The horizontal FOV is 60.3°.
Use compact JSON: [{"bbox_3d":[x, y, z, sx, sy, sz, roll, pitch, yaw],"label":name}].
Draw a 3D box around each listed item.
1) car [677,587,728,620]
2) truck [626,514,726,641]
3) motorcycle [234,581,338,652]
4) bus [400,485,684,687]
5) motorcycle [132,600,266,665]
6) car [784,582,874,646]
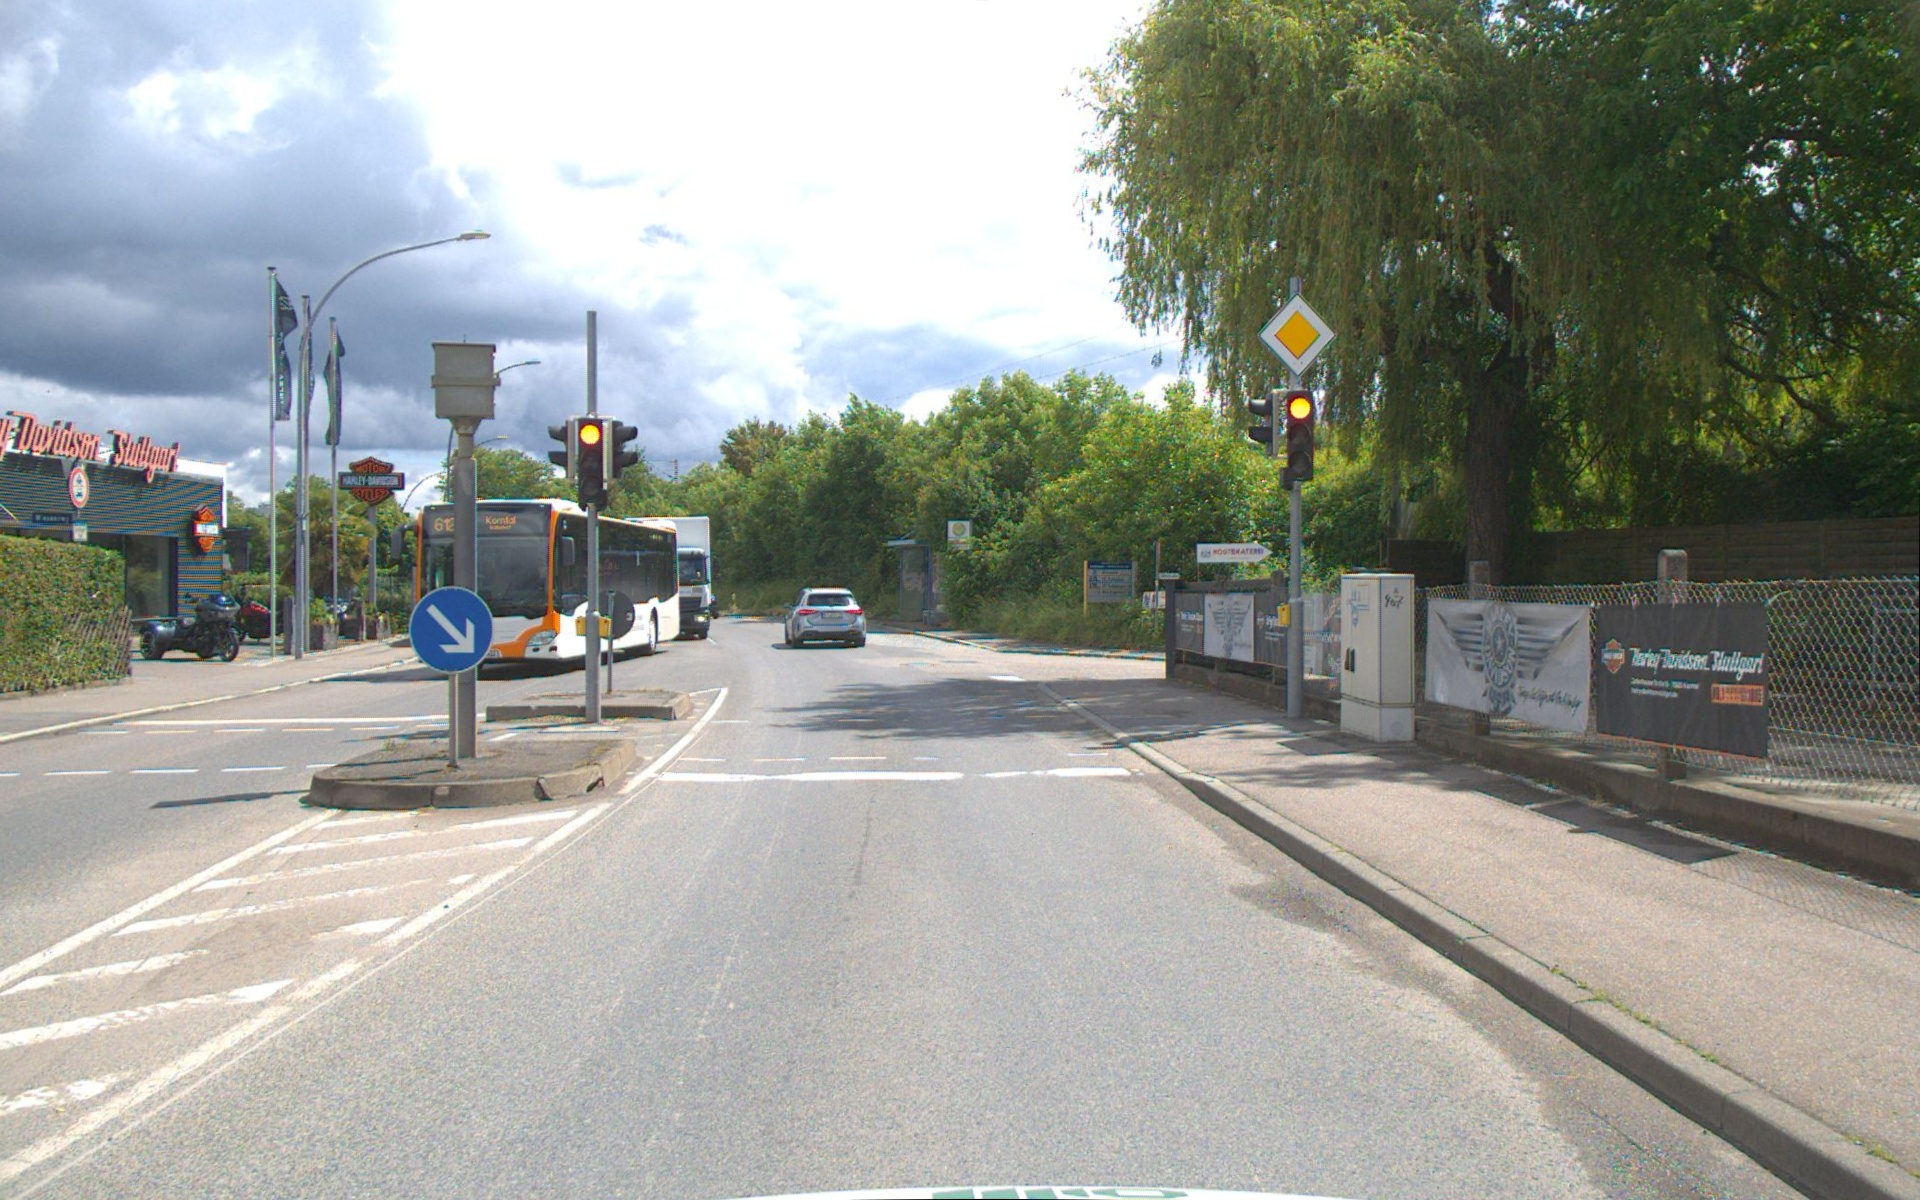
[{"bbox_3d":[-12.037,0.144,77.087,1.854,1.534,3.982,0,0,-16],"label":"car"},{"bbox_3d":[-8.904,-0.692,52.066,2.787,3.602,9.703,-1,0,-9],"label":"truck"},{"bbox_3d":[-16.840,0.397,41.339,2.254,1.713,1.042,1,-1,19],"label":"motorcycle"},{"bbox_3d":[-8.001,-0.293,33.750,2.721,3.323,12.122,-1,0,0],"label":"bus"},{"bbox_3d":[-15.162,0.640,32.952,2.448,1.239,0.927,1,-1,19],"label":"motorcycle"},{"bbox_3d":[-3.346,0.317,41.617,1.851,1.534,3.990,-1,0,-11],"label":"car"}]
